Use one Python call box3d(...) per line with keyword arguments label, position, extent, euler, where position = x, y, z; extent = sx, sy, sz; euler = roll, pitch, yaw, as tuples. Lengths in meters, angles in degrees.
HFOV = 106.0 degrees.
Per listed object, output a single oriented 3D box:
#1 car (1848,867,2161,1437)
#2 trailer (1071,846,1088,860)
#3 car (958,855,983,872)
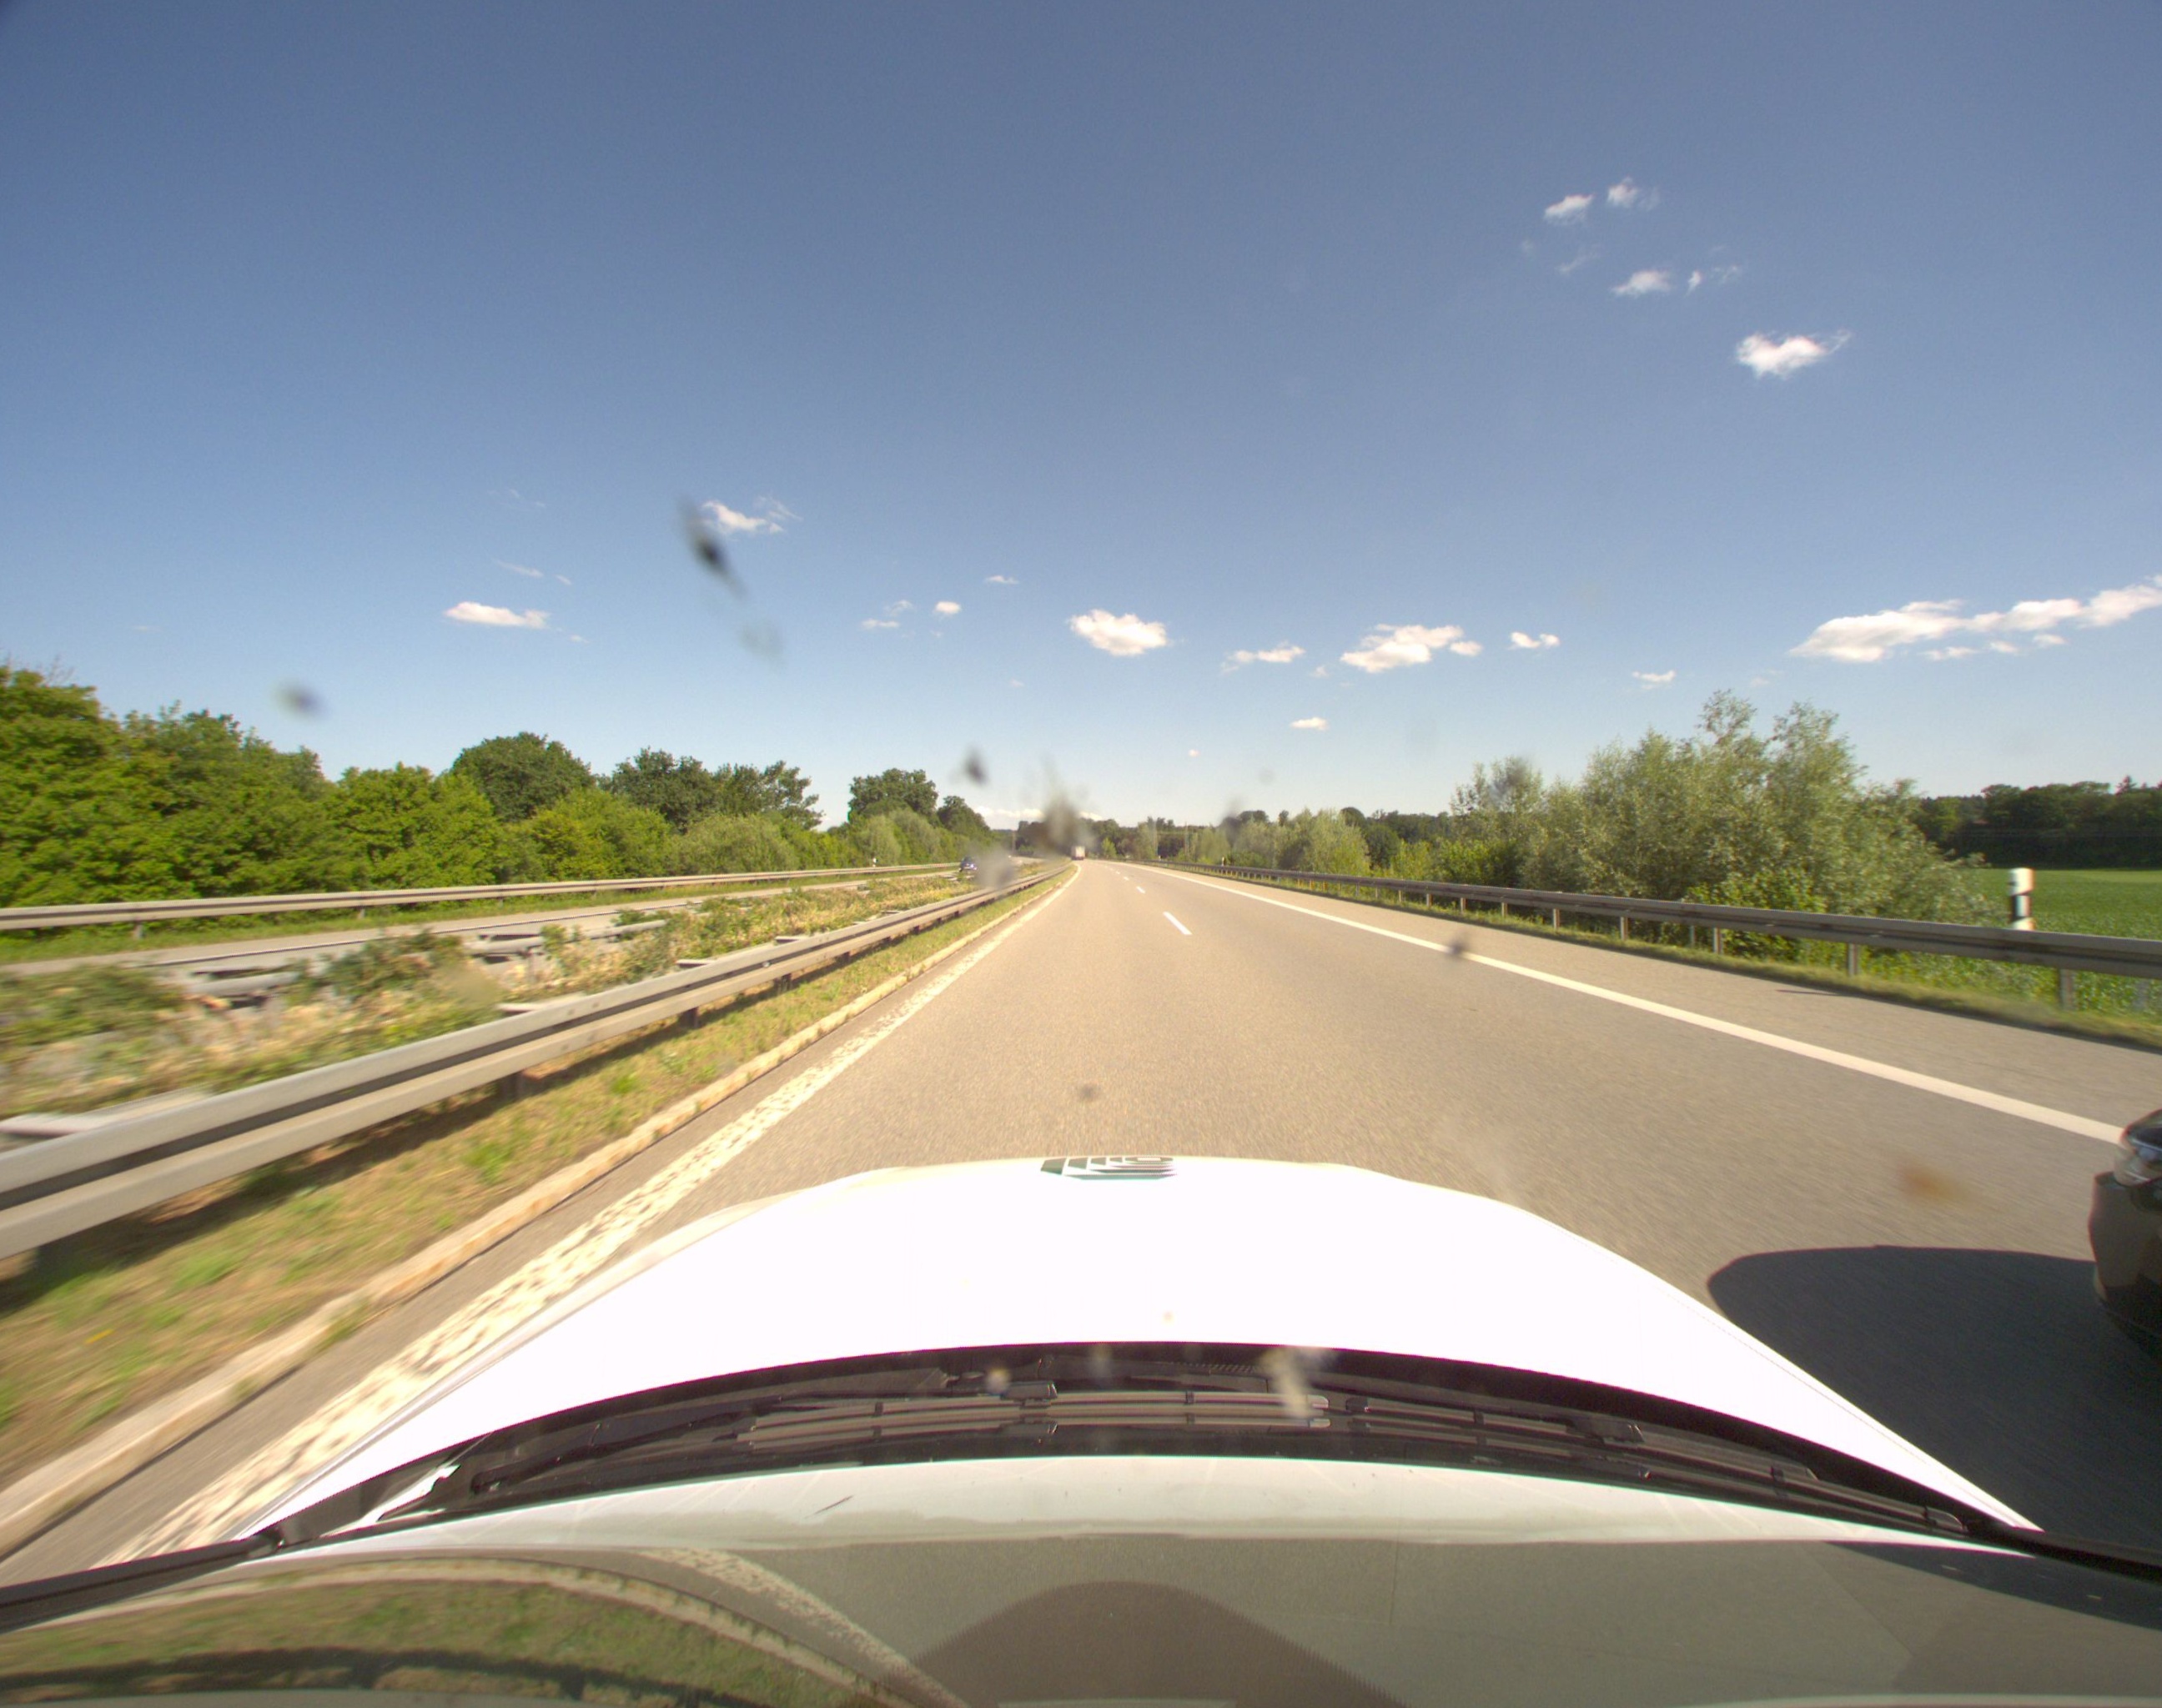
box3d(label="car", position=(3.532, 0.735, 0.648), extent=(1.713, 1.400, 4.413), euler=(-1, 0, 1))
box3d(label="trailer", position=(-0.473, -0.340, 236.027), extent=(2.884, 4.066, 12.377), euler=(-1, 0, -10))
box3d(label="car", position=(-9.920, 0.846, 73.168), extent=(1.670, 1.441, 4.000), euler=(-2, 0, 0))
